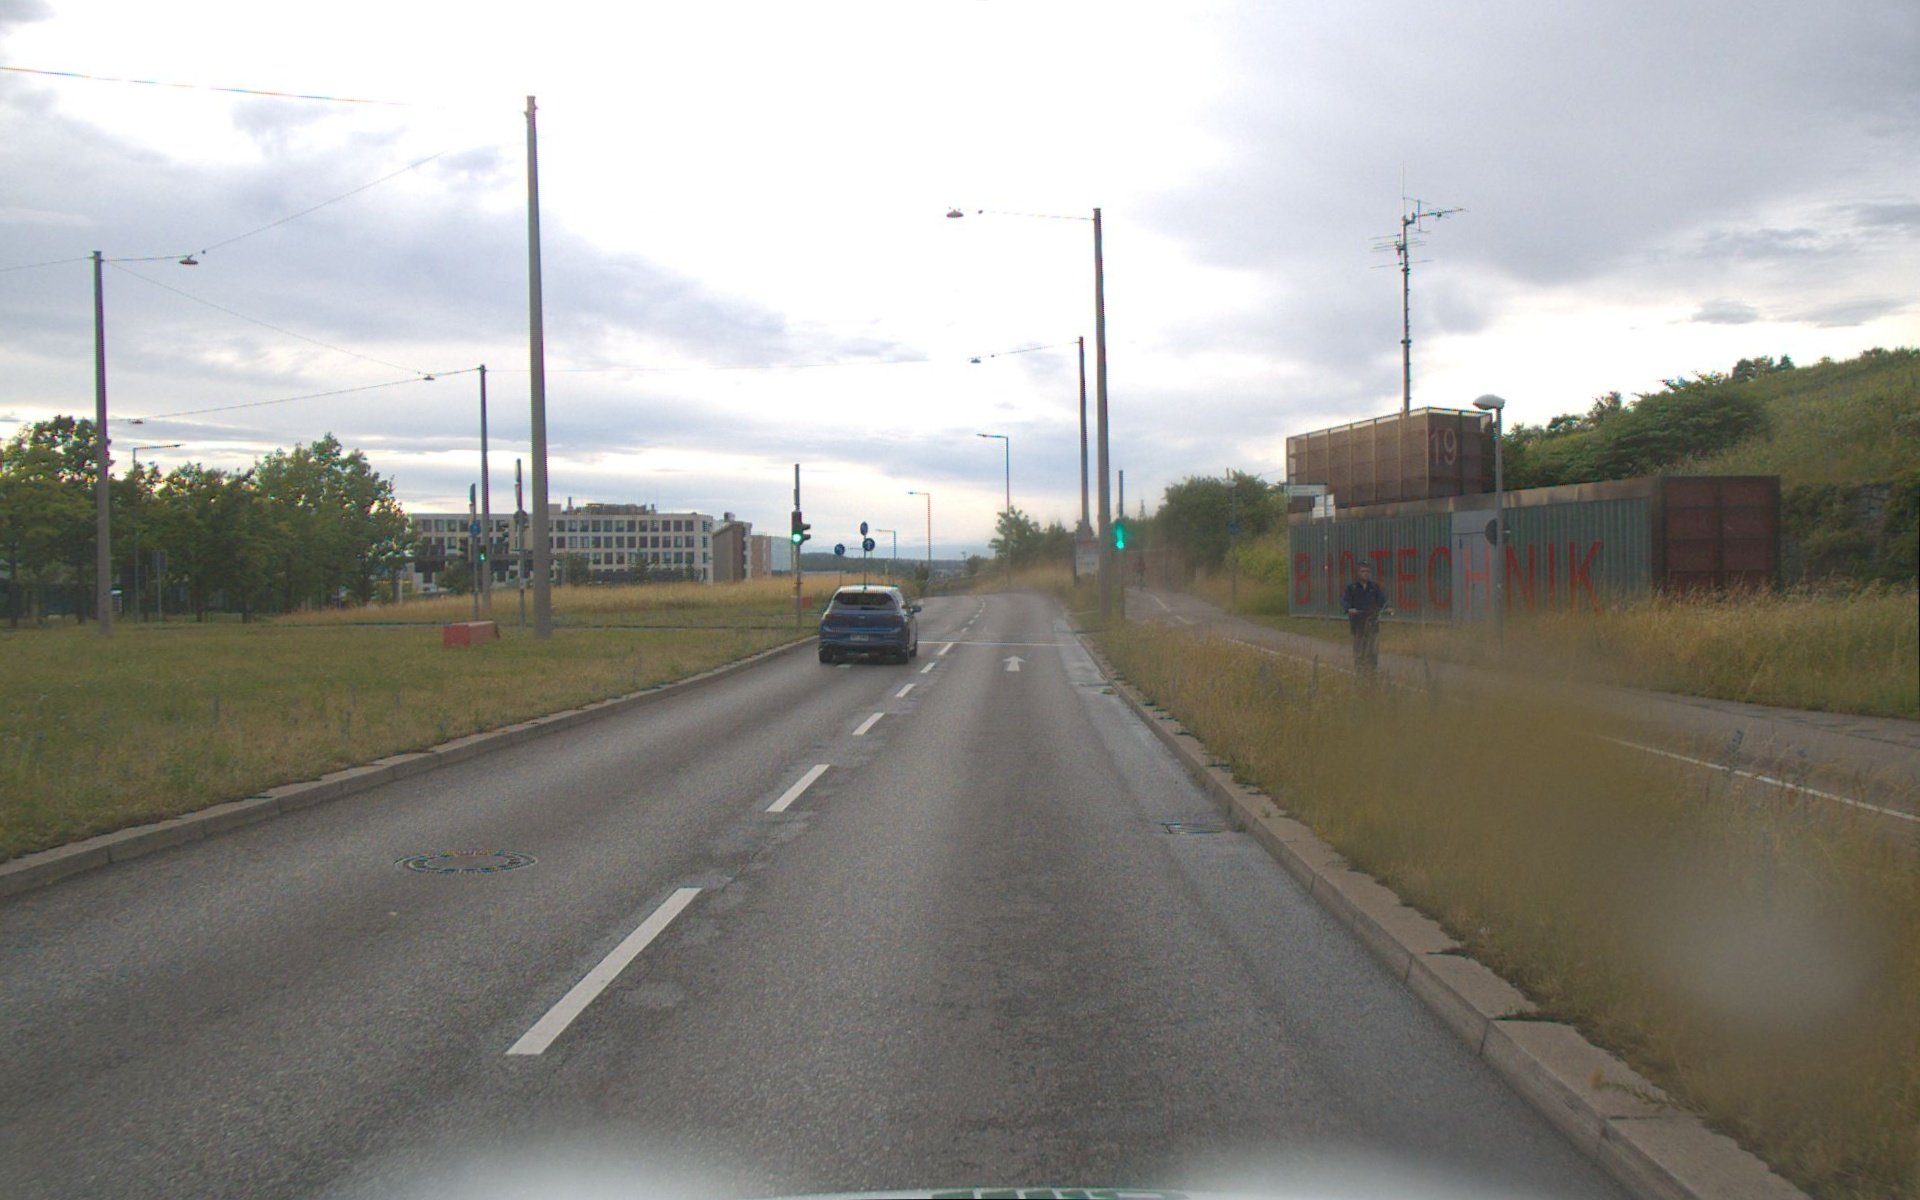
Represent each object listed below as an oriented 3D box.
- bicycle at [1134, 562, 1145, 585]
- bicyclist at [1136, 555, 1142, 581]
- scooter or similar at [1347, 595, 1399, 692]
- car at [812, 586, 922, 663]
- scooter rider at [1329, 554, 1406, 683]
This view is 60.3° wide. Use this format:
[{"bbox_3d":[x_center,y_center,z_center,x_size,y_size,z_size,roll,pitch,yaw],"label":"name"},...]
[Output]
[{"bbox_3d":[8.699,-1.285,80.137,0.539,1.087,0.615,0,1,4],"label":"bicycle"},{"bbox_3d":[8.688,-1.549,80.182,0.260,1.216,0.315,0,1,4],"label":"bicyclist"},{"bbox_3d":[5.432,0.553,21.791,0.393,1.217,1.114,2,1,1],"label":"scooter or similar"},{"bbox_3d":[-1.782,0.447,32.905,1.799,1.418,4.001,0,1,2],"label":"car"},{"bbox_3d":[5.404,0.236,21.970,0.789,1.657,0.828,-2,0,1],"label":"scooter rider"}]
